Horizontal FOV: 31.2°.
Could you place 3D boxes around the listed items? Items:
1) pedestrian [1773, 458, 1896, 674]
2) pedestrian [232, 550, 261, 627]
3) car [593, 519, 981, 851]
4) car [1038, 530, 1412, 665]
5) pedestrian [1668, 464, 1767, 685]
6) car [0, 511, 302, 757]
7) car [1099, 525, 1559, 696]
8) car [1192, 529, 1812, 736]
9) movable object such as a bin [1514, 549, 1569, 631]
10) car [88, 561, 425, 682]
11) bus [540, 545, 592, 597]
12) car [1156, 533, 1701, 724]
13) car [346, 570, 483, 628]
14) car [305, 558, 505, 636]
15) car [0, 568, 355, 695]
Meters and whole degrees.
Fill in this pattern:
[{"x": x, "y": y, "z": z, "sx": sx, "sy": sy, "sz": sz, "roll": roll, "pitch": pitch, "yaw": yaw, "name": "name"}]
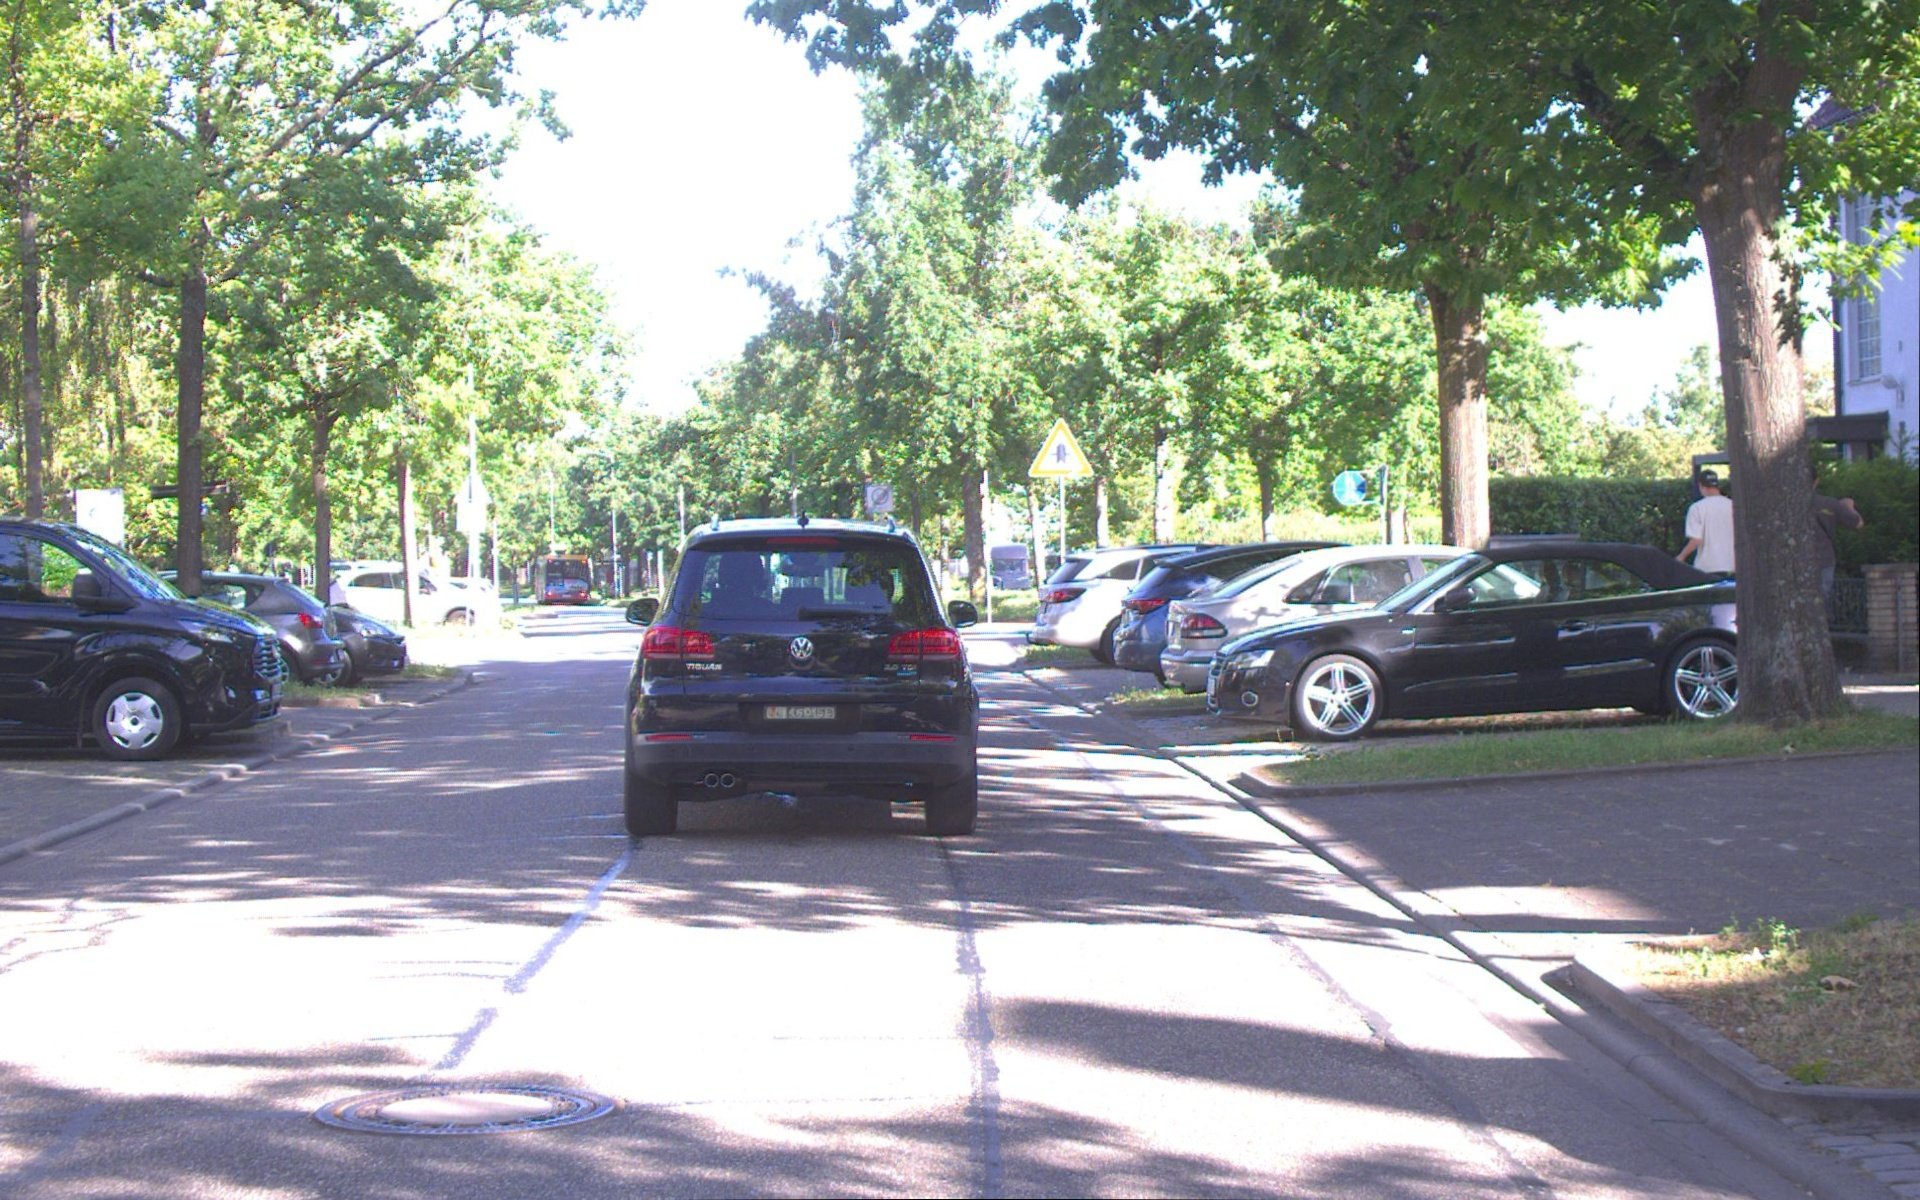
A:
[{"x": 7.554, "y": -0.289, "z": 29.712, "sx": 0.835, "sy": 1.822, "sz": 0.710, "roll": -2, "pitch": 0, "yaw": 1, "name": "pedestrian"}, {"x": -14.502, "y": -0.237, "z": 69.883, "sx": 0.441, "sy": 1.551, "sz": 0.801, "roll": -1, "pitch": 1, "yaw": -3, "name": "pedestrian"}, {"x": -0.847, "y": 0.396, "z": 19.038, "sx": 1.838, "sy": 1.631, "sz": 3.958, "roll": -1, "pitch": 1, "yaw": 1, "name": "car"}, {"x": 3.240, "y": -0.048, "z": 42.660, "sx": 4.428, "sy": 1.486, "sz": 1.797, "roll": -2, "pitch": 1, "yaw": -1, "name": "car"}, {"x": 6.530, "y": -0.217, "z": 29.657, "sx": 0.608, "sy": 1.867, "sz": 0.924, "roll": -2, "pitch": 0, "yaw": 1, "name": "pedestrian"}, {"x": -7.889, "y": 0.252, "z": 27.849, "sx": 4.778, "sy": 1.910, "sz": 2.019, "roll": 0, "pitch": 1, "yaw": -3, "name": "car"}, {"x": 3.581, "y": 0.083, "z": 33.914, "sx": 4.276, "sy": 1.498, "sz": 1.797, "roll": -2, "pitch": 1, "yaw": -1, "name": "car"}, {"x": 4.042, "y": 0.235, "z": 26.149, "sx": 4.345, "sy": 1.358, "sz": 1.874, "roll": -2, "pitch": 0, "yaw": -1, "name": "car"}, {"x": 7.566, "y": -0.131, "z": 44.774, "sx": 0.534, "sy": 1.041, "sz": 0.700, "roll": -2, "pitch": 1, "yaw": -3, "name": "movable object such as a bin"}, {"x": -8.712, "y": 0.252, "z": 42.794, "sx": 3.857, "sy": 1.454, "sz": 1.713, "roll": 0, "pitch": 1, "yaw": -1, "name": "car"}, {"x": -23.553, "y": -1.706, "z": 205.676, "sx": 2.928, "sy": 2.993, "sz": 5.738, "roll": -2, "pitch": 0, "yaw": -5, "name": "bus"}, {"x": 3.877, "y": 0.214, "z": 28.955, "sx": 4.276, "sy": 1.409, "sz": 1.797, "roll": -2, "pitch": 1, "yaw": -1, "name": "car"}, {"x": -16.805, "y": -0.037, "z": 106.083, "sx": 4.015, "sy": 1.642, "sz": 1.811, "roll": -2, "pitch": 1, "yaw": -5, "name": "car"}, {"x": -12.289, "y": -0.071, "z": 76.358, "sx": 4.241, "sy": 1.617, "sz": 1.897, "roll": -1, "pitch": 0, "yaw": -5, "name": "car"}, {"x": -9.036, "y": 0.348, "z": 39.795, "sx": 3.818, "sy": 1.414, "sz": 1.772, "roll": 0, "pitch": 1, "yaw": -3, "name": "car"}]
